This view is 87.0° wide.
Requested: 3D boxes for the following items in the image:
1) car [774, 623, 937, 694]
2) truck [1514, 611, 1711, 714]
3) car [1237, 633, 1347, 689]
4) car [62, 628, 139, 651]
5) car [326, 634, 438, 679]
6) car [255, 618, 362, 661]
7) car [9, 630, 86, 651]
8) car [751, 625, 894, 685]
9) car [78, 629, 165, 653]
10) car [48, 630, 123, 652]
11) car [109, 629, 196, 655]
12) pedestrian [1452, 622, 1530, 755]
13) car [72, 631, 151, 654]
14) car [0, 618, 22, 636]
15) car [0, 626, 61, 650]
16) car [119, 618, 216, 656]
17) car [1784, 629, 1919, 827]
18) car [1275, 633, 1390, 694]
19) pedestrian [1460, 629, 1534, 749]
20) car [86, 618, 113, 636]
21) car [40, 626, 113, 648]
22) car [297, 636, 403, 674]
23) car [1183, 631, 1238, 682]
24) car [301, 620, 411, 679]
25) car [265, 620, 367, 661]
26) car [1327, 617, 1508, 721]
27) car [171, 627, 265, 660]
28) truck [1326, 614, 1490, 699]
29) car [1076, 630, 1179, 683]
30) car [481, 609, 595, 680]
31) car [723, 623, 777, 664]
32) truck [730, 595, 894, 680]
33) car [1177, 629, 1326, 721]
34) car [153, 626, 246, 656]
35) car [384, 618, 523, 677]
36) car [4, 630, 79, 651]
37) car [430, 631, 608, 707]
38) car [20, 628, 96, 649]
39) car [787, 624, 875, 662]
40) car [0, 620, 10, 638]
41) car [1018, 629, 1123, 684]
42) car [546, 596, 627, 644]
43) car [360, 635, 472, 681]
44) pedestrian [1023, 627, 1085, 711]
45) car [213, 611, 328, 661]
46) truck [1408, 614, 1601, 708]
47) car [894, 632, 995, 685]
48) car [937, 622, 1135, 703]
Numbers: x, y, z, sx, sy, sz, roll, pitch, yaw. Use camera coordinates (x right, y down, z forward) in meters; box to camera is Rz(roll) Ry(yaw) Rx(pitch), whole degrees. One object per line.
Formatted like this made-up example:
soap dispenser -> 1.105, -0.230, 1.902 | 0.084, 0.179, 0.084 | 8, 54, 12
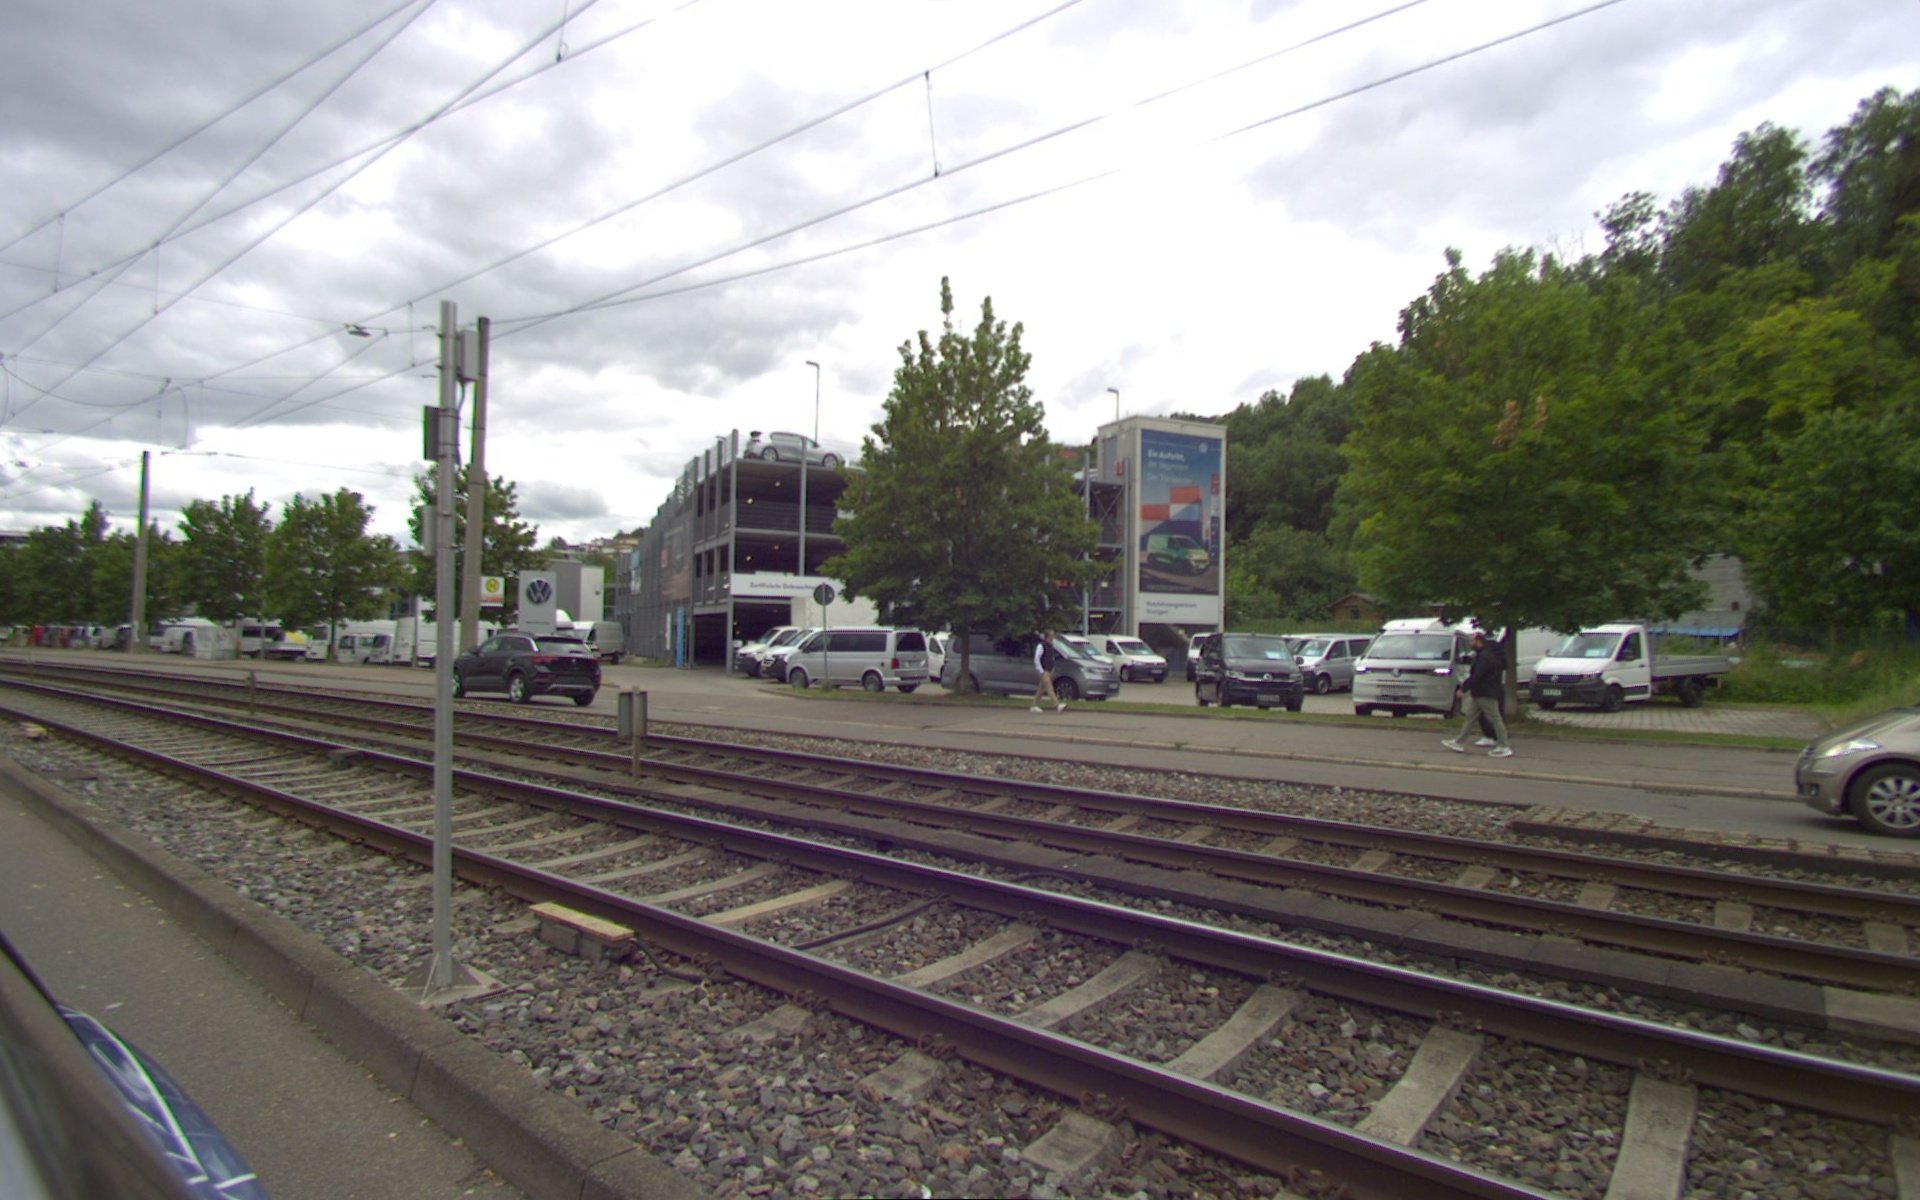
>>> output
car -> -3.262, 1.764, 31.248 | 4.906, 2.029, 1.977 | -1, -3, 34
truck -> 18.033, 1.696, 27.952 | 4.985, 2.608, 2.476 | 2, -3, -29
car -> 12.811, 2.317, 38.947 | 4.197, 2.029, 1.985 | 3, -3, -37
car -> -63.331, 2.912, 74.637 | 1.997, 1.630, 3.949 | -1, -3, 37
car -> -28.556, 2.778, 50.123 | 1.997, 2.121, 4.332 | -1, -3, 32
car -> -34.866, 2.121, 54.252 | 1.997, 2.189, 4.332 | -1, -3, 32
car -> -74.030, 3.300, 82.155 | 2.116, 1.630, 4.304 | -1, -3, 37
car -> -4.893, 1.950, 36.173 | 4.649, 2.029, 2.006 | 2, -3, -27
car -> -58.929, 2.868, 71.202 | 1.999, 1.630, 4.329 | -1, -3, 34
car -> -66.813, 3.166, 77.371 | 1.997, 1.630, 3.949 | -1, -3, 37
car -> -56.201, 2.937, 70.503 | 2.000, 1.699, 4.325 | -1, -3, 37
pedestrian -> 7.608, 1.235, 14.505 | 0.854, 1.827, 0.670 | -2, -2, 39
car -> -60.842, 3.059, 72.599 | 1.997, 1.630, 3.949 | -1, -3, 37
car -> -110.572, 3.193, 117.381 | 1.966, 2.029, 4.010 | 2, -3, -34
car -> -80.869, 3.232, 86.619 | 5.621, 2.023, 2.149 | 3, -4, -36
car -> -50.946, 2.386, 65.102 | 2.121, 2.329, 4.455 | -1, -3, 37
car -> 9.226, 1.063, 7.851 | 4.248, 1.544, 1.873 | -1, -6, 36
car -> 13.214, 2.224, 35.837 | 3.934, 2.029, 2.004 | 3, -3, -37
pedestrian -> 8.052, 1.299, 15.182 | 0.854, 1.726, 0.622 | -2, -2, 39
car -> -103.869, 3.260, 122.212 | 1.966, 2.029, 4.010 | 2, -3, -34
car -> -68.834, 2.891, 78.859 | 2.044, 1.677, 3.949 | -1, -3, 37
car -> -32.264, 2.877, 53.634 | 1.997, 1.925, 4.332 | -1, -3, 32
car -> 10.495, 2.314, 42.160 | 1.983, 2.029, 4.255 | -2, -2, 17
car -> -30.657, 2.493, 51.469 | 1.997, 2.841, 4.332 | -1, -3, 32
car -> -36.155, 2.266, 56.924 | 1.997, 2.189, 4.332 | -1, -3, 32
car -> 9.716, 1.400, 21.272 | 2.165, 1.902, 5.003 | -2, -3, 40
car -> -46.456, 2.742, 63.441 | 2.000, 1.962, 4.325 | -1, -3, 37
truck -> 14.902, 1.871, 33.649 | 4.985, 2.608, 2.476 | 2, -3, -29
car -> 6.691, 2.268, 41.009 | 1.965, 2.028, 4.482 | 2, -3, -24
car -> -19.080, 1.988, 45.660 | 5.928, 3.042, 2.087 | -1, -3, 38
car -> -10.362, 2.159, 50.179 | 1.971, 1.918, 4.001 | 1, -3, -2
truck -> -5.703, 1.500, 39.170 | 5.835, 3.108, 2.126 | 2, -3, -25
car -> 7.059, 1.789, 25.174 | 2.135, 2.029, 5.072 | 1, -3, -1
car -> -48.494, 2.629, 64.578 | 2.000, 1.859, 4.325 | -1, -3, 37
car -> -23.850, 2.244, 47.832 | 2.242, 2.622, 5.424 | -1, -3, 36
car -> -76.091, 3.356, 83.869 | 2.151, 1.630, 4.296 | -1, -3, 37
car -> -9.880, 1.518, 22.569 | 4.248, 1.544, 1.671 | -1, -6, 36
car -> -71.434, 3.050, 80.192 | 2.059, 1.630, 4.139 | -1, -3, 37
car -> -6.948, 2.298, 54.350 | 4.451, 1.918, 1.977 | -1, -3, 33
car -> -112.140, 3.334, 117.506 | 1.966, 2.029, 4.010 | 2, -3, -34
car -> 4.277, 2.196, 39.811 | 1.965, 2.028, 4.481 | 2, -3, -27
car -> -21.675, 1.242, 59.016 | 1.980, 2.622, 5.941 | 0, -2, 6
car -> -26.290, 2.790, 49.053 | 1.997, 2.121, 4.332 | -1, -3, 32
pedestrian -> 1.937, 1.410, 20.844 | 1.038, 1.668, 0.713 | -1, -1, 29
car -> -39.182, 2.067, 57.635 | 2.108, 2.719, 4.927 | -1, -3, 32
truck -> 16.610, 1.836, 30.808 | 5.679, 2.608, 2.476 | 2, -3, -29
car -> -0.644, 2.143, 37.807 | 1.965, 1.845, 4.481 | 2, -3, -27
car -> 2.021, 1.644, 27.629 | 5.117, 2.029, 1.976 | -1, -3, 35
